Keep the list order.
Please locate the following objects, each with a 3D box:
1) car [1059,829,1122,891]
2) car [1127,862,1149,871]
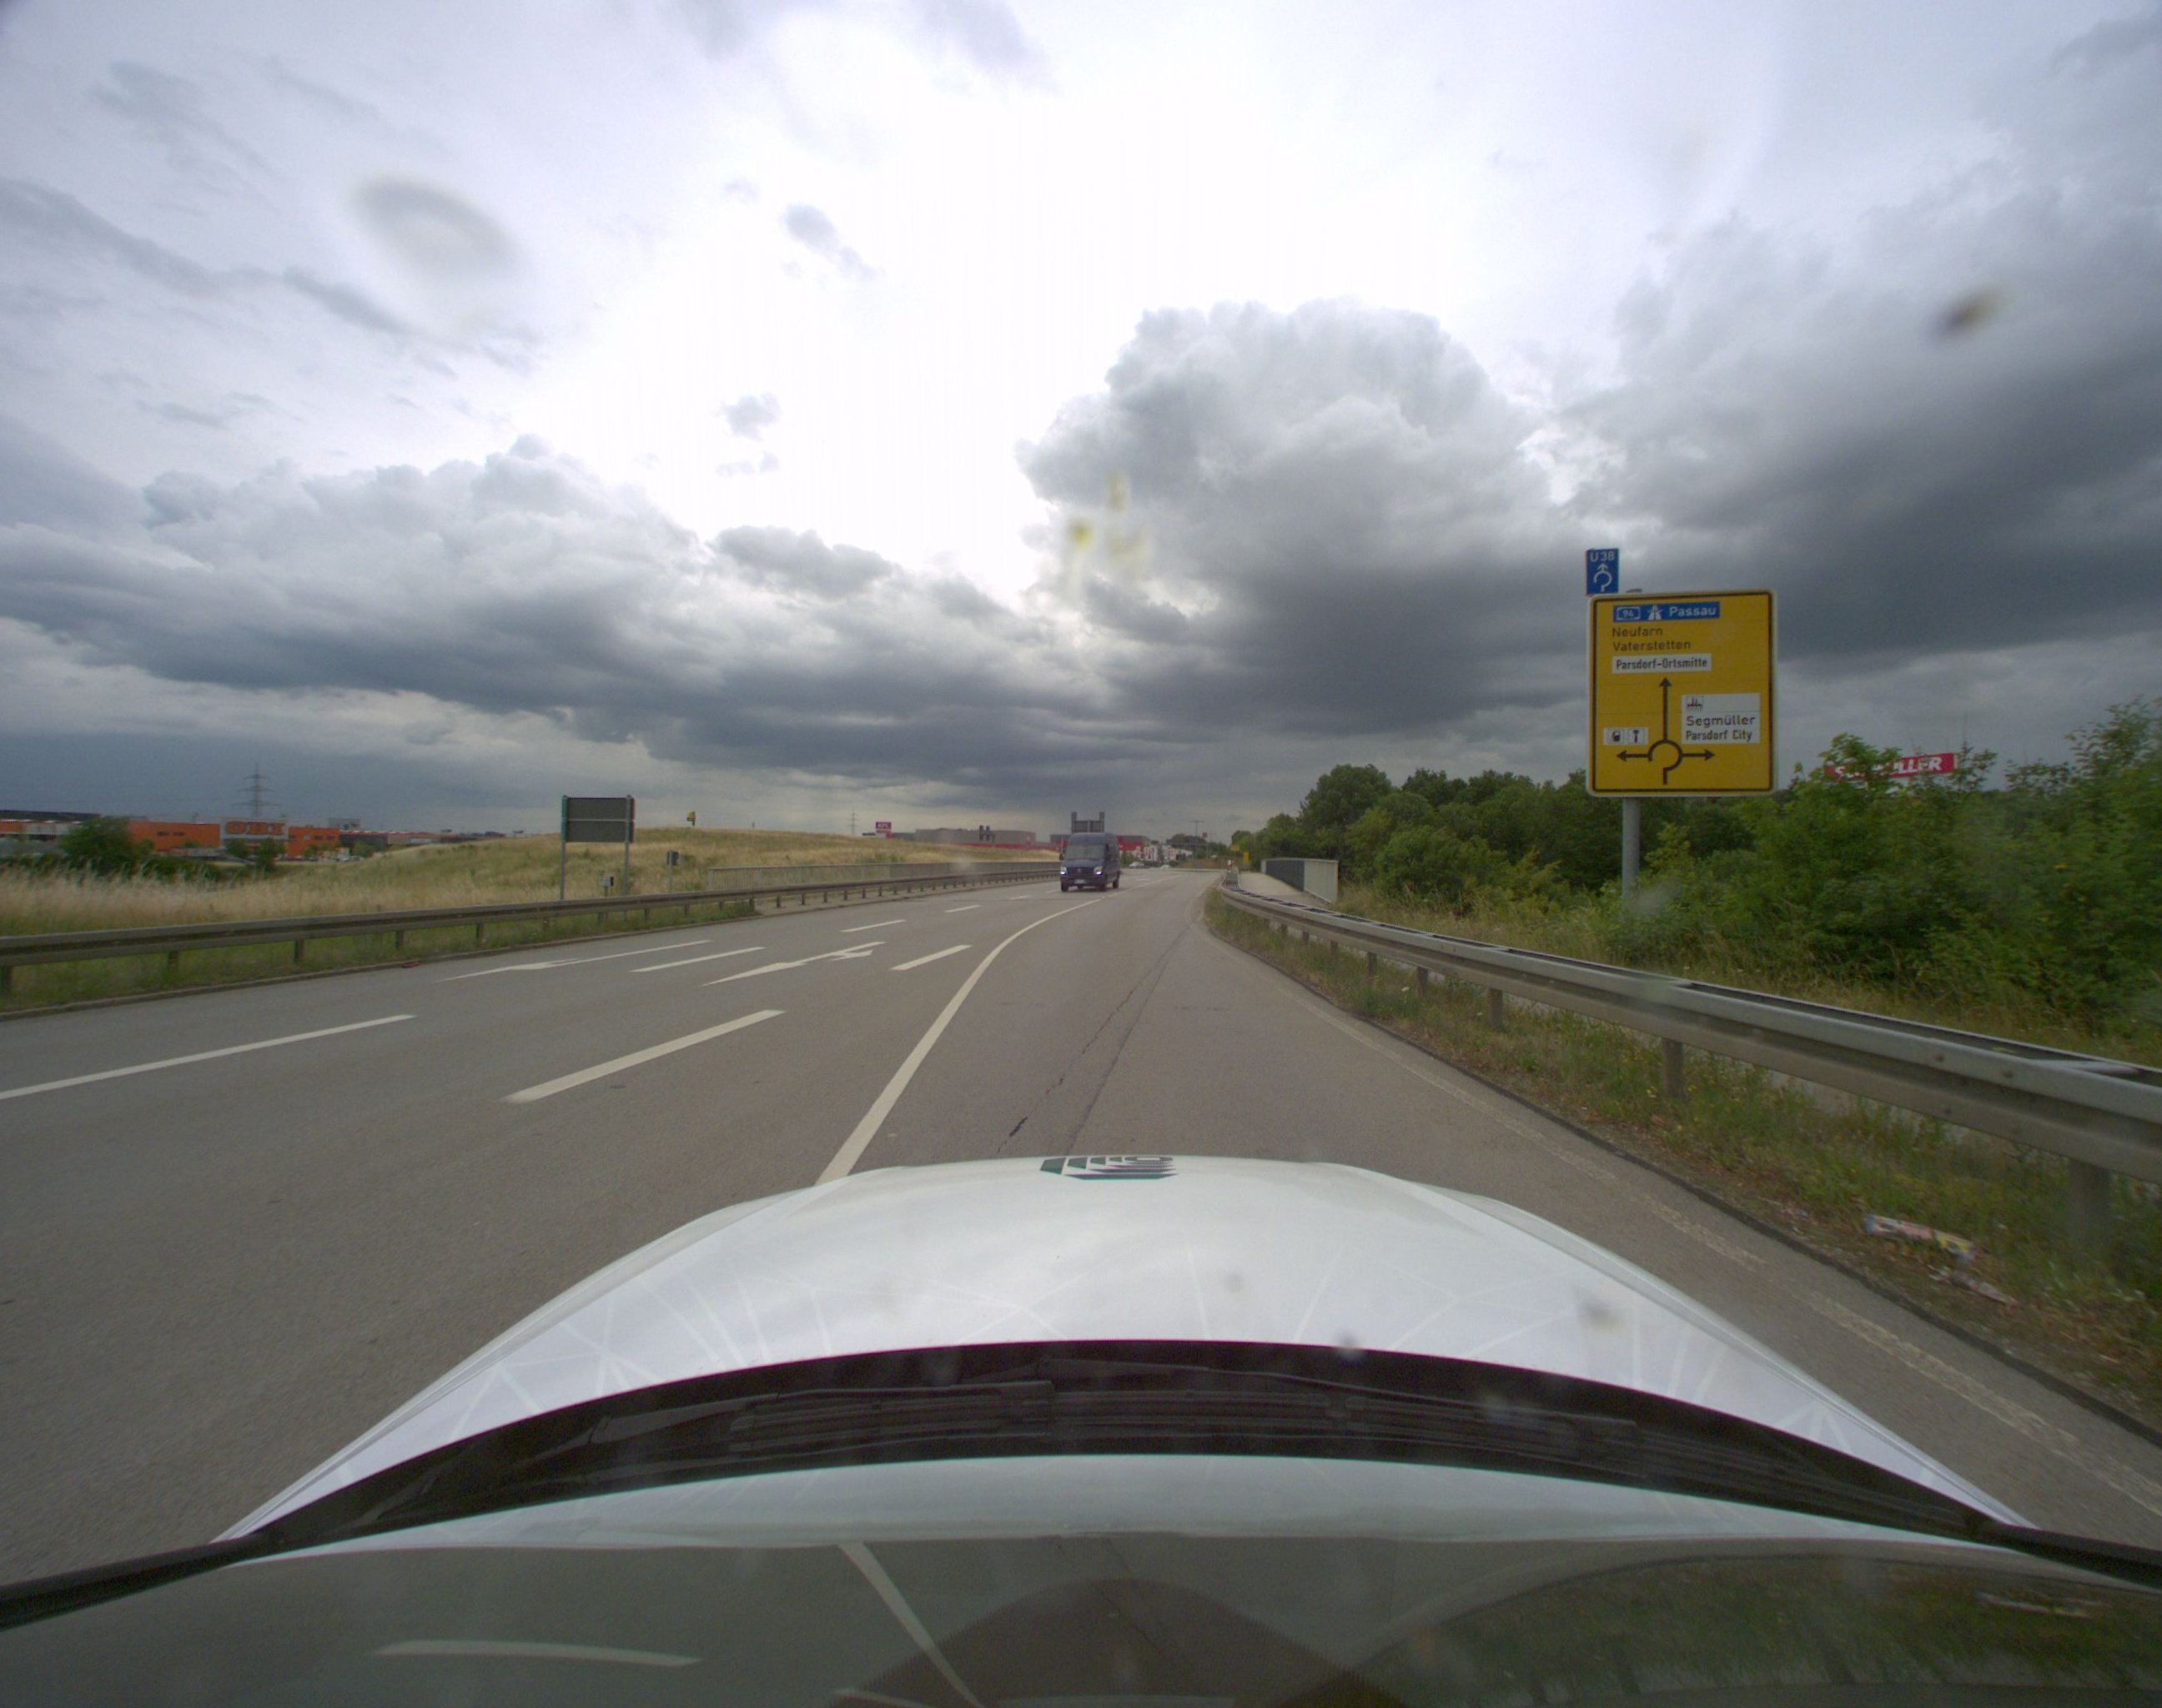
[{"bbox_3d":[0.530,0.268,37.089,1.981,2.592,6.020,0,0,9],"label":"car"},{"bbox_3d":[11.501,2.547,165.616,3.949,1.876,2.013,1,0,33],"label":"car"}]
